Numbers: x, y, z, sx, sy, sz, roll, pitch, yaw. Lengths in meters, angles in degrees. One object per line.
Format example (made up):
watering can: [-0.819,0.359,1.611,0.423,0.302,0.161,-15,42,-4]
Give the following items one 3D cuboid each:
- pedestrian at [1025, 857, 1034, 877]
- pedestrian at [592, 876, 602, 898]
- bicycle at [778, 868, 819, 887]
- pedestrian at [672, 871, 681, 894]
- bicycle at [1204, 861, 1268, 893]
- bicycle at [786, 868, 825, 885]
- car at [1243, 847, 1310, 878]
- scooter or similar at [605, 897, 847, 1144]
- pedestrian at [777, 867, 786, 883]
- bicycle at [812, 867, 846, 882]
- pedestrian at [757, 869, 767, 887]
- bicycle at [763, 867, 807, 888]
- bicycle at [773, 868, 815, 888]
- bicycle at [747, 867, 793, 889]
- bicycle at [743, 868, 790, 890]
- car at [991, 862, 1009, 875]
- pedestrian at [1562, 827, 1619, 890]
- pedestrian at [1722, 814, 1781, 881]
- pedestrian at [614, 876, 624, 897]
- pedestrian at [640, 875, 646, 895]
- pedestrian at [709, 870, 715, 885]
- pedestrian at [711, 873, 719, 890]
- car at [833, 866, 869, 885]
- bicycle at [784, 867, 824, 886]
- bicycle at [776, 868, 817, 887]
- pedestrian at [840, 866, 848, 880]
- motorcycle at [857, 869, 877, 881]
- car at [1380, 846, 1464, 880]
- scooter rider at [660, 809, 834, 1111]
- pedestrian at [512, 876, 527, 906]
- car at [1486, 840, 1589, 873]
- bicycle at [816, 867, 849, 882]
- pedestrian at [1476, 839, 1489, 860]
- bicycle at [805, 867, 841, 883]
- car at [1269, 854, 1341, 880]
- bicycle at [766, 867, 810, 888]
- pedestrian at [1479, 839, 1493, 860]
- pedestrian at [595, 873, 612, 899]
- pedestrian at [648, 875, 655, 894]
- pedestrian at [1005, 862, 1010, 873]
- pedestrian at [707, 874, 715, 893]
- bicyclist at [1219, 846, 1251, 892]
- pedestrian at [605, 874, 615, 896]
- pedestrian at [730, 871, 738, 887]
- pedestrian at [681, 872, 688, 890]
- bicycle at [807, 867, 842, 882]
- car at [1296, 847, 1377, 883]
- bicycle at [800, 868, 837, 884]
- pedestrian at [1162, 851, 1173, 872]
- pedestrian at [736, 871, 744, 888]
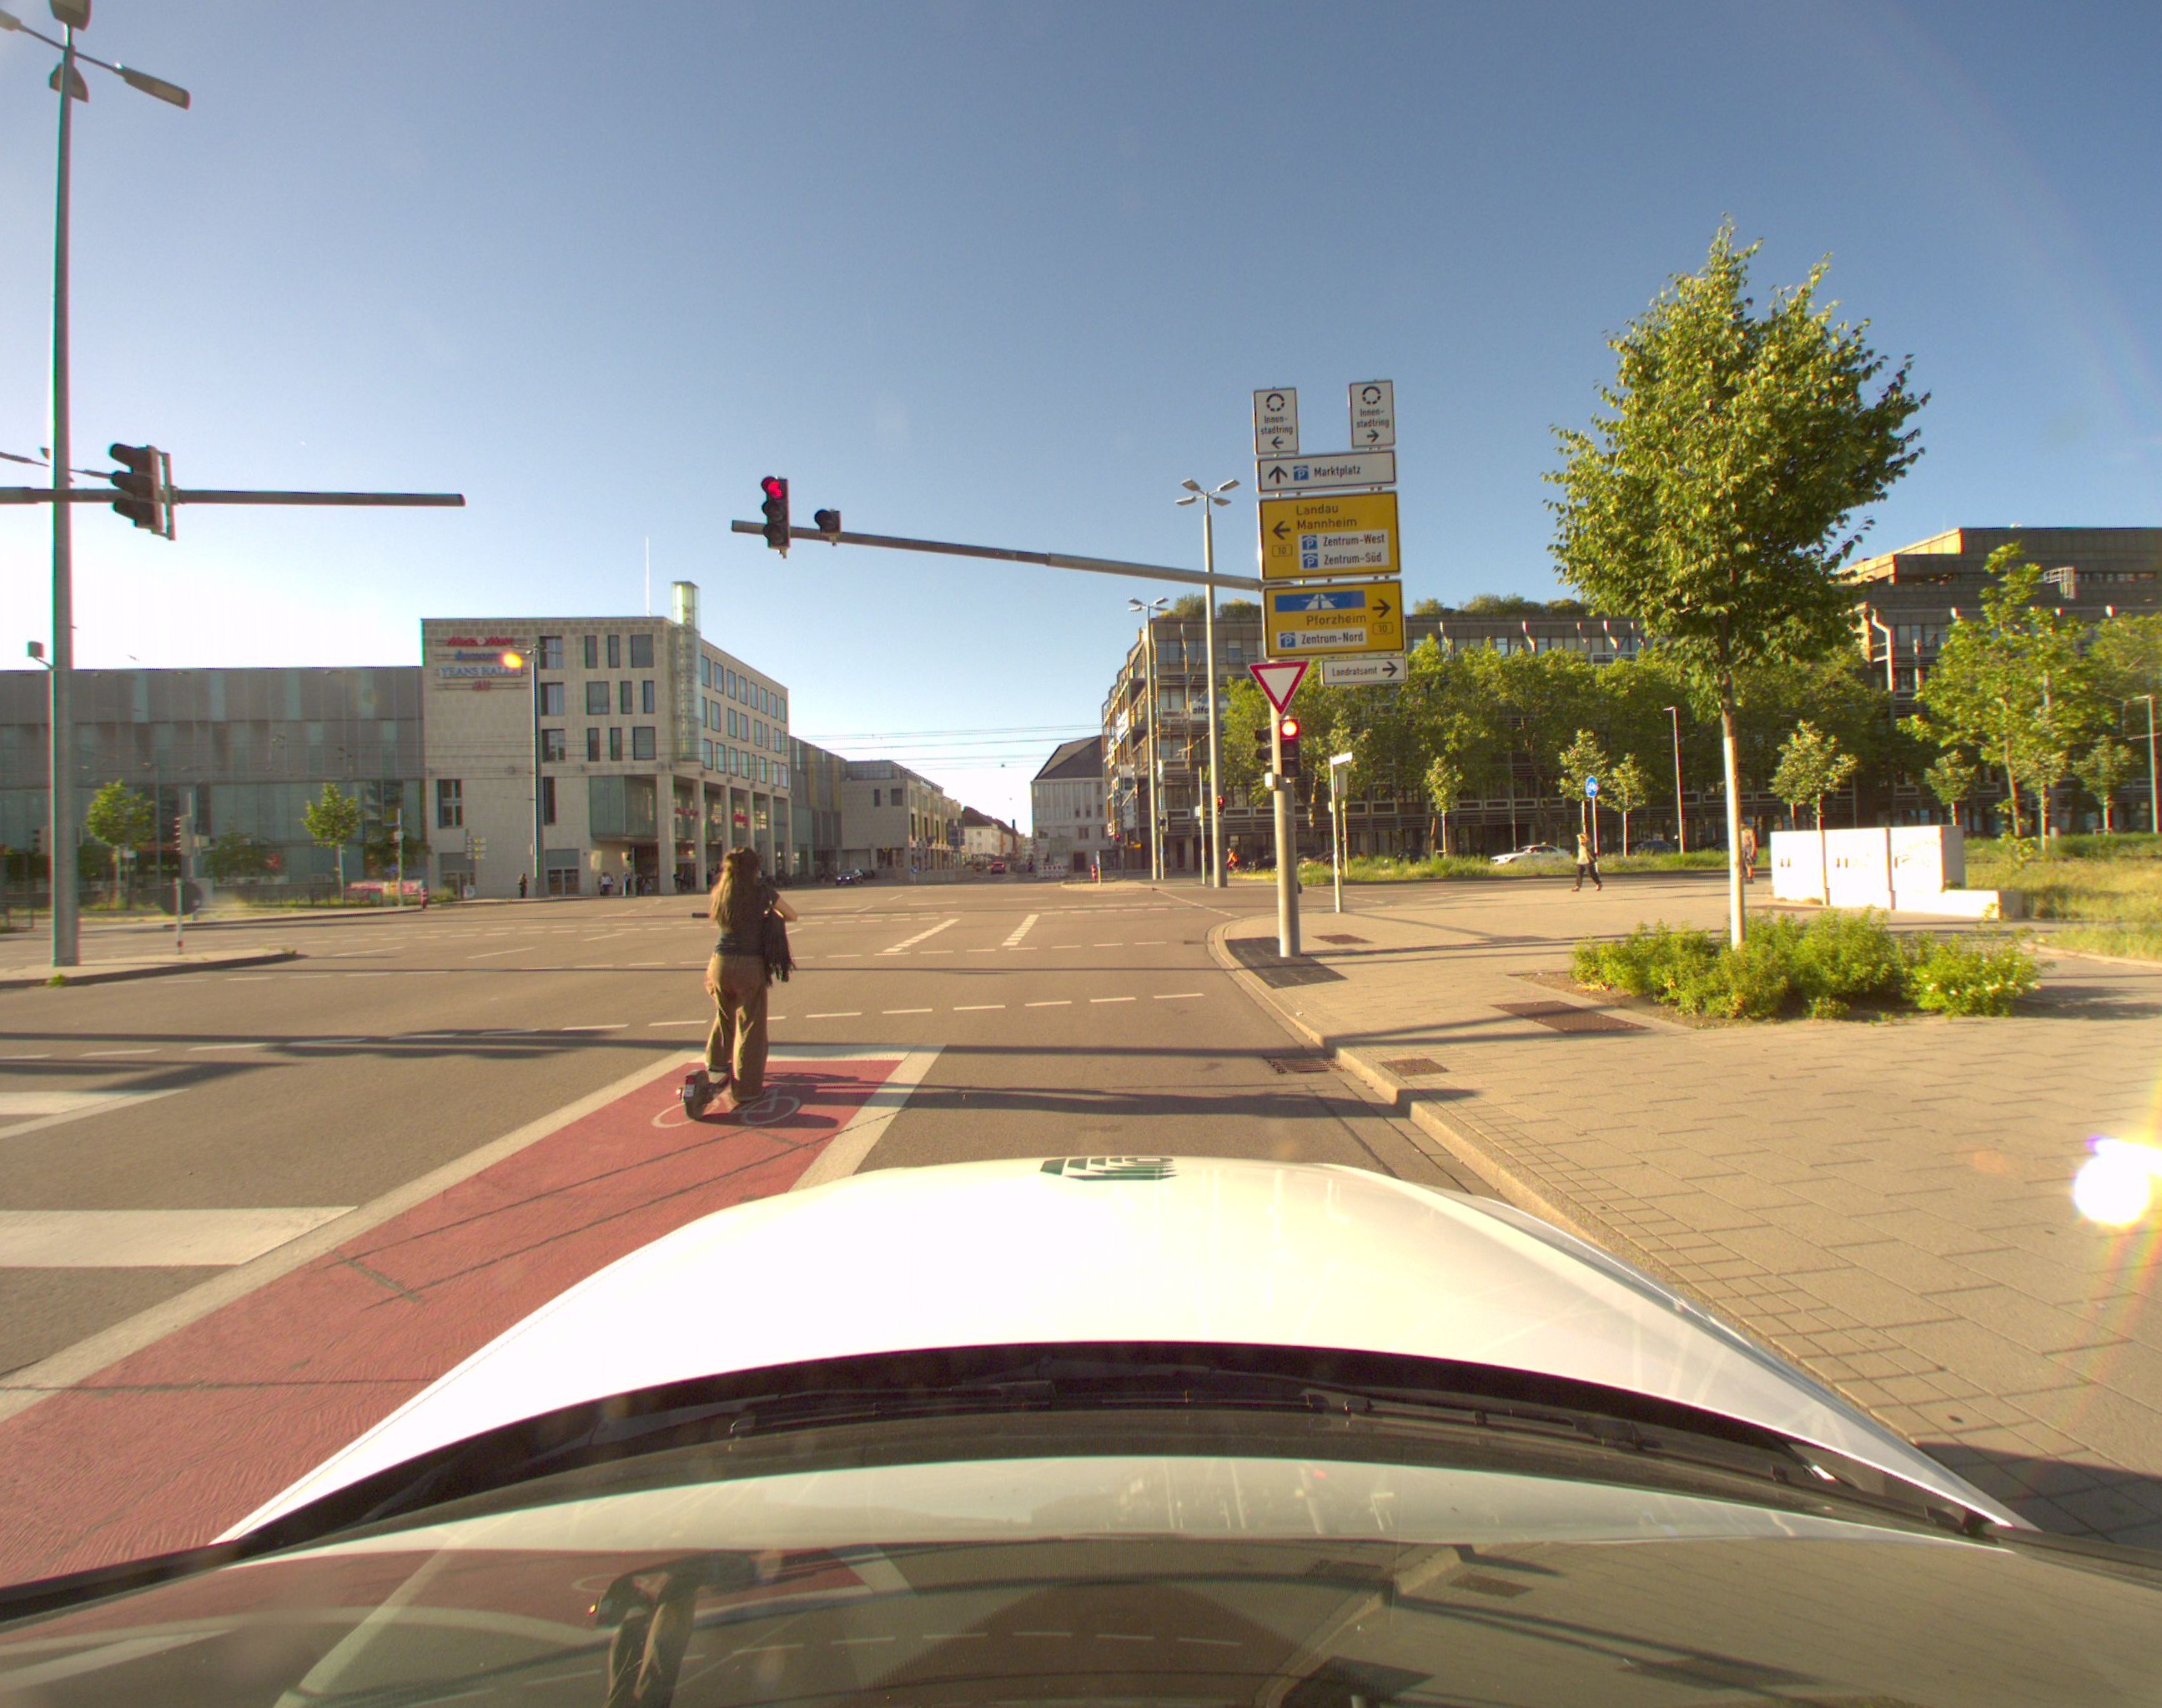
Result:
pedestrian: [-4.309,1.062,68.351,0.661,1.658,0.755,-2,0,-1]
pedestrian: [-35.525,2.414,59.791,0.420,1.565,0.457,-2,0,2]
bicycle: [-27.043,2.212,78.066,3.491,1.696,0.984,-2,0,-10]
pedestrian: [-30.148,2.115,60.723,0.544,1.642,0.545,-2,0,-31]
bicycle: [8.927,1.317,47.066,3.488,1.659,0.929,-2,0,-7]
bicycle: [-27.409,2.228,81.160,3.491,1.527,0.984,-2,0,-10]
car: [12.841,0.563,53.622,3.975,2.014,1.999,0,-1,-1]
scooter or similar: [-2.108,0.922,5.122,0.725,1.202,1.665,-1,0,2]
pedestrian: [-30.043,2.103,81.599,0.652,1.642,0.693,-2,0,-7]
bicycle: [-27.929,2.252,90.355,3.491,1.527,0.984,-2,0,-10]
pedestrian: [-30.538,2.272,77.934,0.785,1.642,0.692,-2,0,-11]
bicycle: [-26.143,2.072,71.954,3.488,1.696,1.114,-2,0,-7]
bicycle: [-26.679,2.183,75.761,3.491,1.696,0.984,-2,0,-10]
bicycle: [-26.907,2.074,70.466,3.488,1.696,1.114,-2,0,-7]
bicycle: [-26.731,2.098,69.293,3.488,1.696,1.114,-2,0,-7]
car: [-10.789,1.886,108.861,2.195,1.607,4.320,-2,0,-4]
pedestrian: [13.495,0.117,21.597,0.801,1.630,0.939,-2,0,-12]
pedestrian: [17.767,-0.163,21.589,0.694,1.728,0.939,-2,0,-12]
pedestrian: [-34.343,2.385,60.524,0.421,1.527,0.456,-2,0,-6]
pedestrian: [-32.769,2.302,60.933,0.389,1.426,0.498,-2,0,-31]
pedestrian: [-33.922,2.155,74.844,0.385,1.439,0.367,-2,0,-3]
pedestrian: [-32.240,2.400,71.782,0.480,1.510,0.513,-2,0,-3]
car: [-20.665,1.930,73.417,1.987,1.486,4.000,-2,0,1]
bicycle: [-27.247,2.236,80.163,3.491,1.696,0.984,-2,0,-10]
bicycle: [-26.855,2.201,76.858,3.491,1.696,0.984,-2,0,-10]
pedestrian: [-28.545,2.302,98.234,0.689,1.642,0.700,-2,0,6]
motorcycle: [-25.967,2.538,98.866,2.269,1.318,0.719,-2,0,-4]
car: [21.406,0.564,51.245,4.435,2.014,1.998,0,-1,-4]
scooter rider: [-2.101,0.628,5.227,0.726,1.775,0.811,-1,0,1]
pedestrian: [-32.599,2.151,47.284,0.525,1.694,0.546,-2,0,-8]
car: [28.894,0.147,51.652,5.424,2.014,2.097,0,-1,-1]
bicycle: [-28.289,2.331,92.779,3.491,1.527,0.984,-2,0,-10]
pedestrian: [32.578,-0.350,66.094,0.662,1.658,0.739,-2,0,-5]
bicycle: [-27.652,2.214,87.449,3.491,1.527,0.984,-2,0,-10]
car: [13.853,0.784,50.474,3.976,1.508,1.867,-1,0,-2]
bicycle: [-26.319,2.117,73.175,3.488,1.696,1.114,-2,0,-7]
pedestrian: [32.406,-0.357,65.172,0.662,1.658,0.739,-2,0,-5]
pedestrian: [-33.881,2.237,57.797,0.755,1.798,0.736,-2,0,-3]
pedestrian: [-32.309,2.315,61.215,0.389,1.412,0.433,-2,0,-34]
pedestrian: [-9.584,1.735,106.285,0.608,1.411,0.569,-2,0,-5]
pedestrian: [-32.280,2.585,71.060,0.480,1.585,0.513,-2,0,-3]
bicyclist: [8.886,0.857,47.069,1.566,2.580,0.929,-2,0,-7]
pedestrian: [-34.821,2.302,60.152,0.420,1.565,0.457,-2,0,2]
pedestrian: [-33.647,2.426,78.900,0.480,1.585,0.598,-2,0,-3]
pedestrian: [-34.843,2.345,71.531,0.385,1.585,0.367,-2,0,-3]
bicycle: [-27.921,2.214,88.578,3.491,1.527,0.984,-2,0,-10]
car: [14.454,0.621,46.207,3.975,2.014,1.999,0,-1,-1]
bicycle: [-27.547,2.293,85.581,3.491,1.527,0.984,-2,0,-10]
pedestrian: [6.998,0.630,65.629,0.728,1.658,0.649,-2,0,-5]
pedestrian: [-33.076,2.449,79.008,0.480,1.585,0.598,-2,0,-3]
